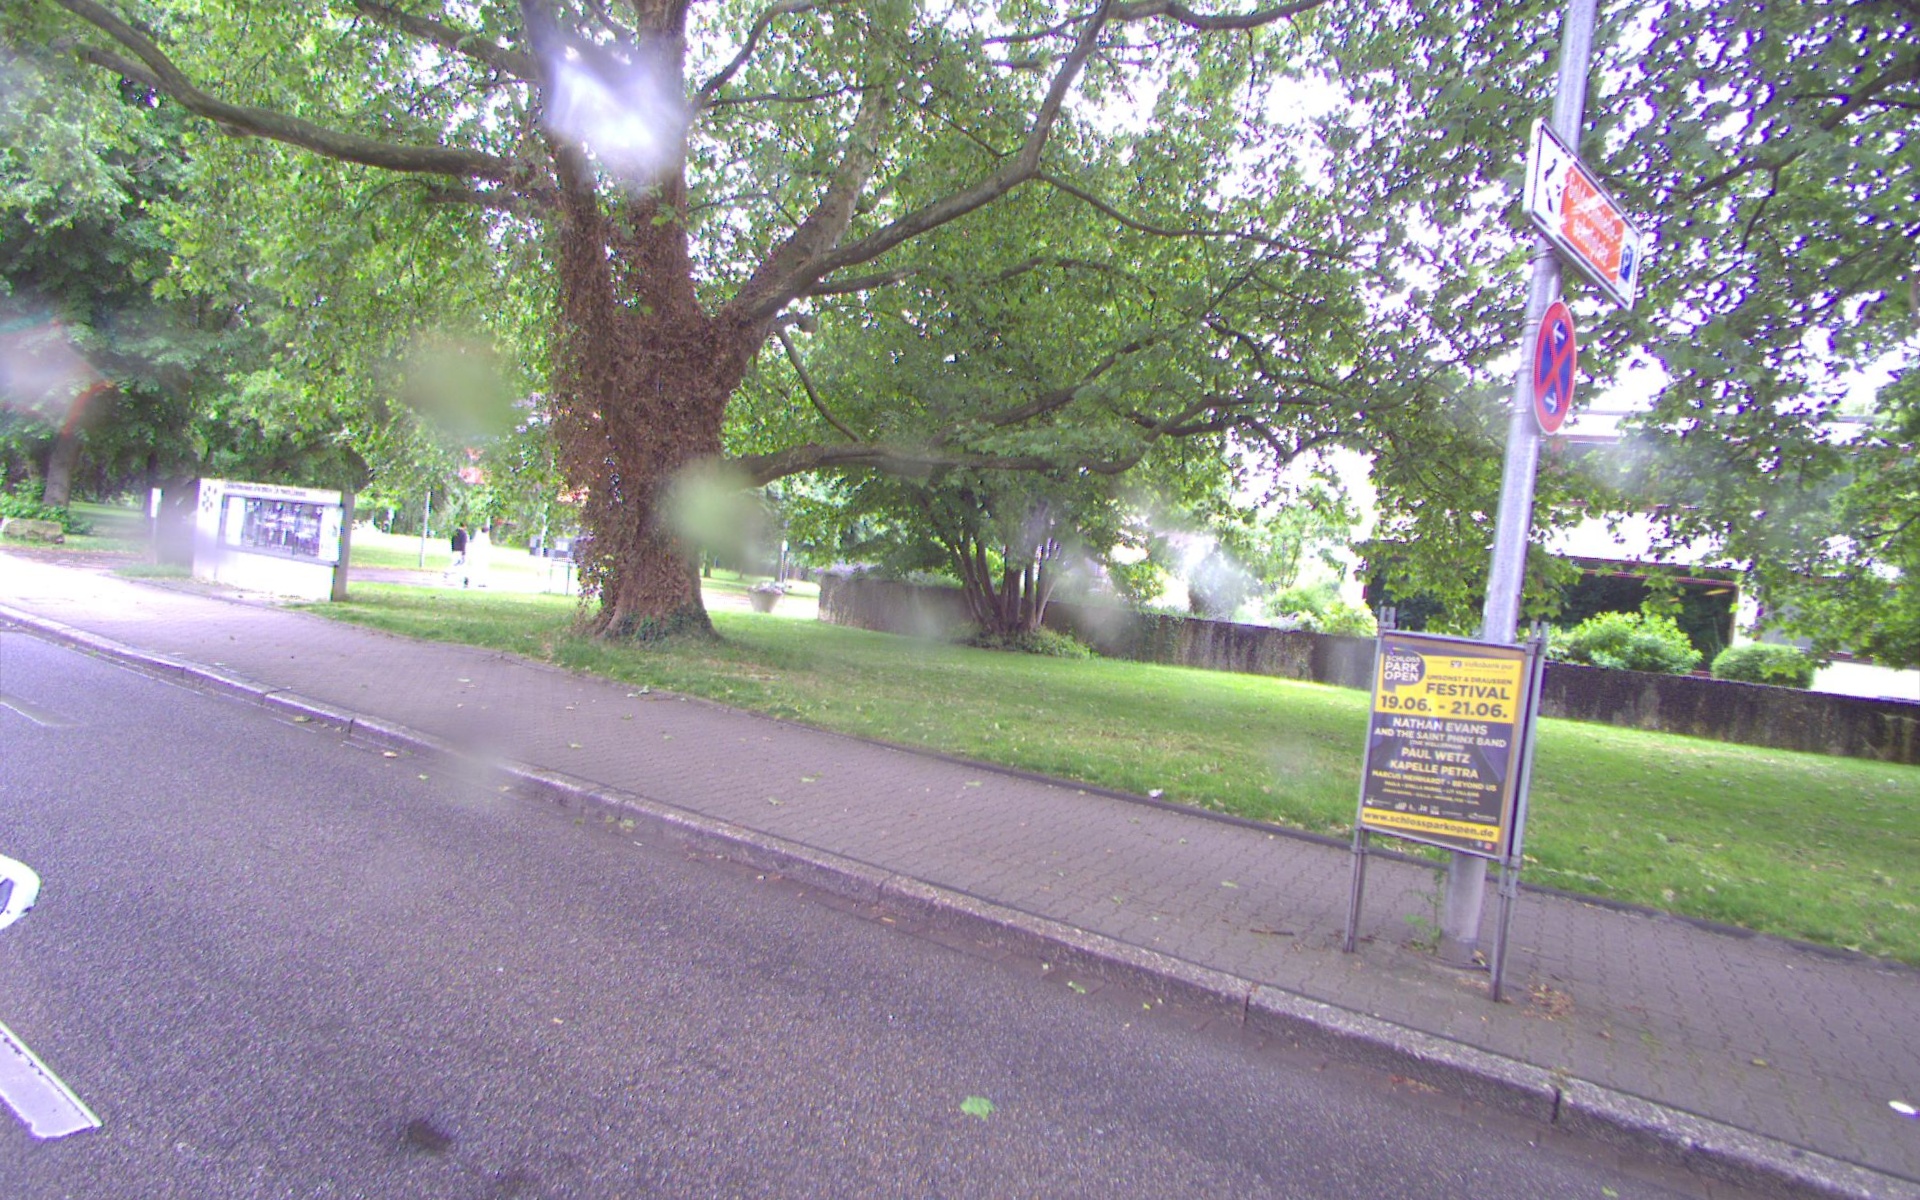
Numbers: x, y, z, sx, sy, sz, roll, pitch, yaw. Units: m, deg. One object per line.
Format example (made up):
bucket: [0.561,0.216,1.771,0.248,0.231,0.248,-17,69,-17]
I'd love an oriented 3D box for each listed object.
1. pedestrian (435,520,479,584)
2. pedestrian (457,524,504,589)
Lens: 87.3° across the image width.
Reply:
pedestrian: [-14.809,-1.407,29.643,0.711,1.776,0.666,7,-1,23]
pedestrian: [-13.700,-1.240,28.738,0.776,1.732,0.666,7,-1,23]
